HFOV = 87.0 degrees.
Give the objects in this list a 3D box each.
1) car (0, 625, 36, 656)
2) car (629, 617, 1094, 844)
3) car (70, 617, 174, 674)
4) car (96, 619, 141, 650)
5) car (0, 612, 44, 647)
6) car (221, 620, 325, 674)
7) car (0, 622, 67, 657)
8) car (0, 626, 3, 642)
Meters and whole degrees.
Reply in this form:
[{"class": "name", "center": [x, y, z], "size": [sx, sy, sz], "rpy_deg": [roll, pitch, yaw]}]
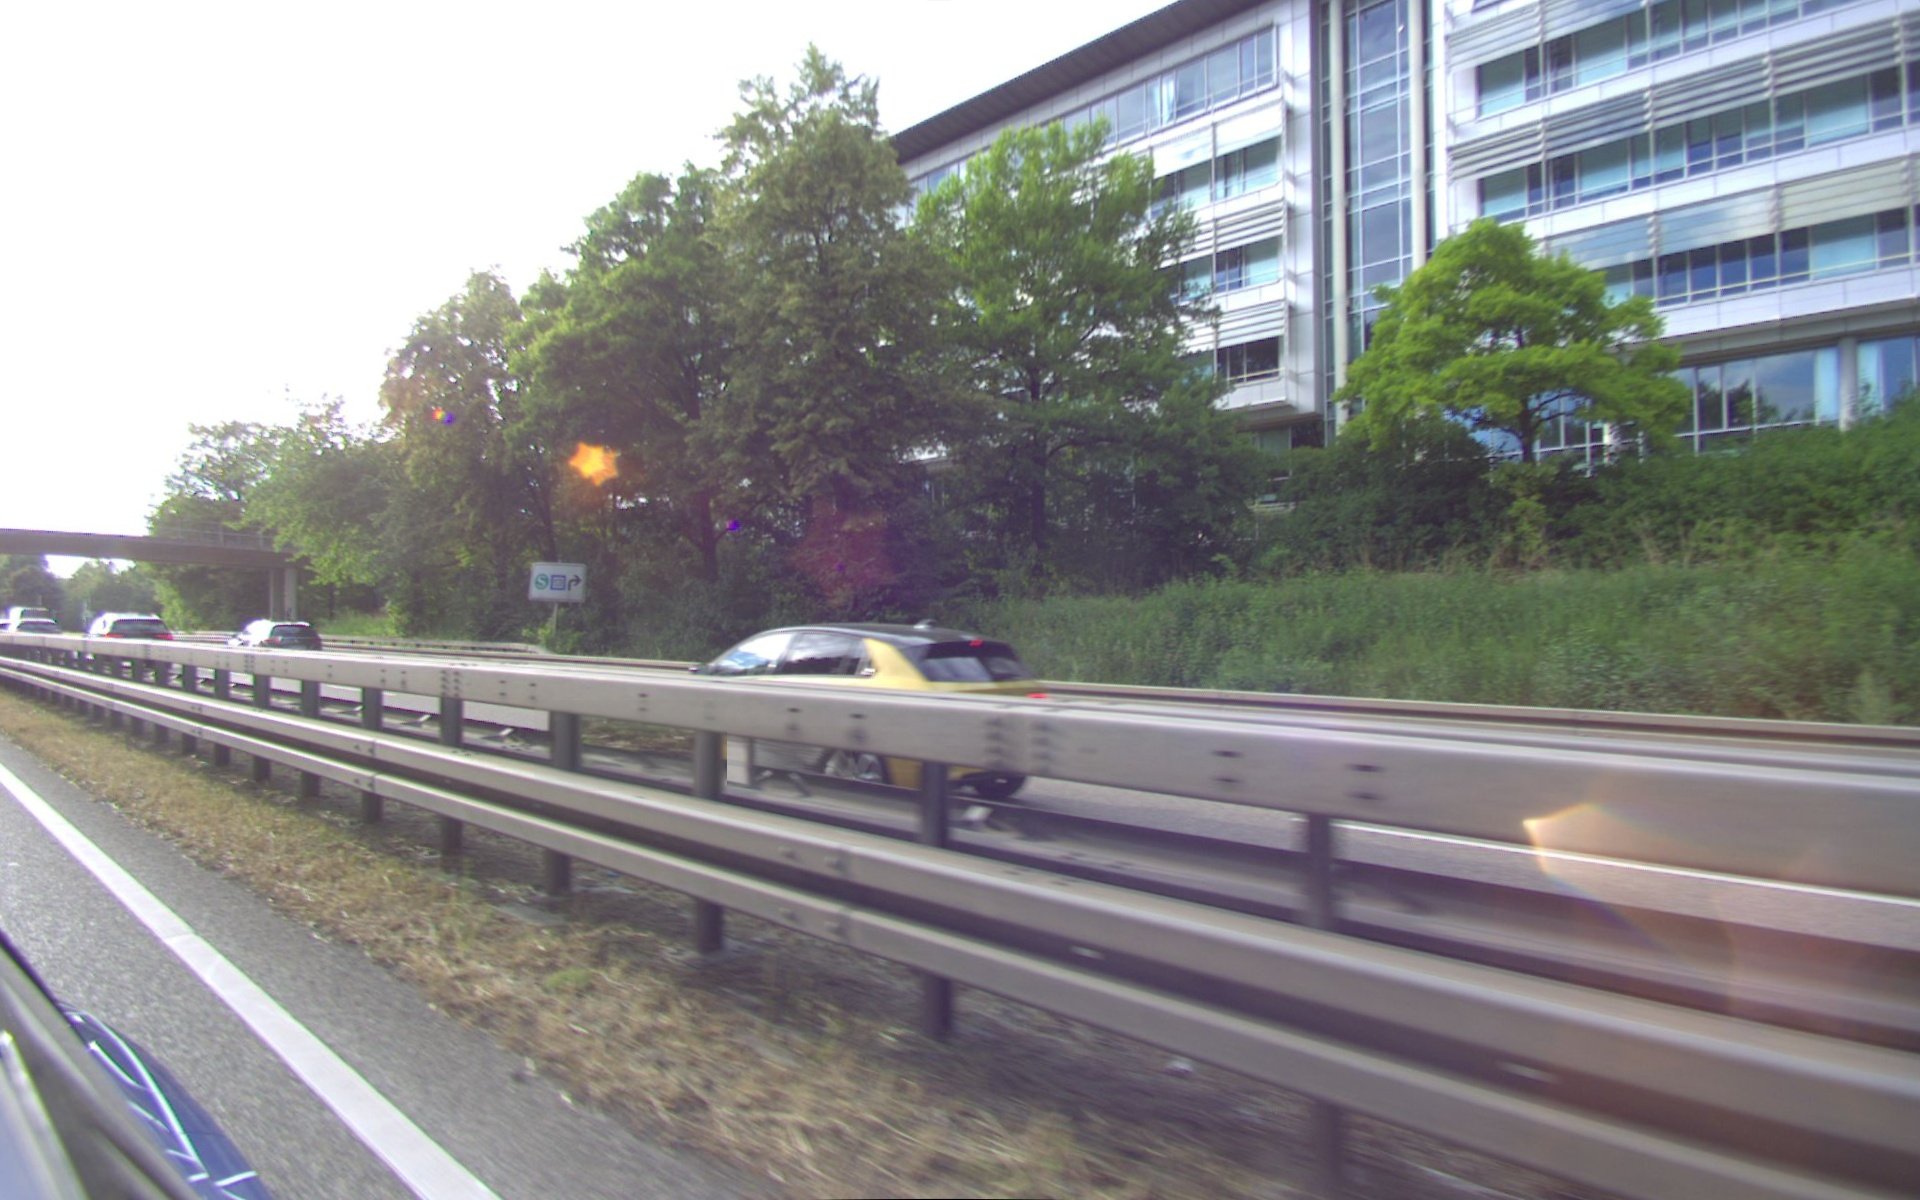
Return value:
[{"class": "car", "center": [-48.436, 2.049, 51.500], "size": [3.644, 1.497, 1.664], "rpy_deg": [-1, -1, 41]}, {"class": "car", "center": [-0.985, 0.878, 8.451], "size": [3.998, 1.458, 1.575], "rpy_deg": [-1, -2, 42]}, {"class": "car", "center": [-25.402, 1.324, 30.620], "size": [4.315, 1.596, 1.801], "rpy_deg": [-1, -2, 42]}, {"class": "car", "center": [-52.302, 2.109, 62.861], "size": [1.846, 1.869, 4.626], "rpy_deg": [1, -2, -44]}, {"class": "car", "center": [-71.784, 2.221, 77.103], "size": [6.938, 2.556, 2.226], "rpy_deg": [-1, -1, 42]}, {"class": "car", "center": [-22.070, 1.454, 32.460], "size": [4.309, 1.601, 1.725], "rpy_deg": [-1, -1, 41]}, {"class": "car", "center": [-38.412, 1.618, 41.922], "size": [3.830, 1.362, 1.658], "rpy_deg": [-1, -2, 41]}, {"class": "car", "center": [-98.013, 3.313, 102.001], "size": [4.396, 1.548, 1.815], "rpy_deg": [-1, -8, 43]}]
